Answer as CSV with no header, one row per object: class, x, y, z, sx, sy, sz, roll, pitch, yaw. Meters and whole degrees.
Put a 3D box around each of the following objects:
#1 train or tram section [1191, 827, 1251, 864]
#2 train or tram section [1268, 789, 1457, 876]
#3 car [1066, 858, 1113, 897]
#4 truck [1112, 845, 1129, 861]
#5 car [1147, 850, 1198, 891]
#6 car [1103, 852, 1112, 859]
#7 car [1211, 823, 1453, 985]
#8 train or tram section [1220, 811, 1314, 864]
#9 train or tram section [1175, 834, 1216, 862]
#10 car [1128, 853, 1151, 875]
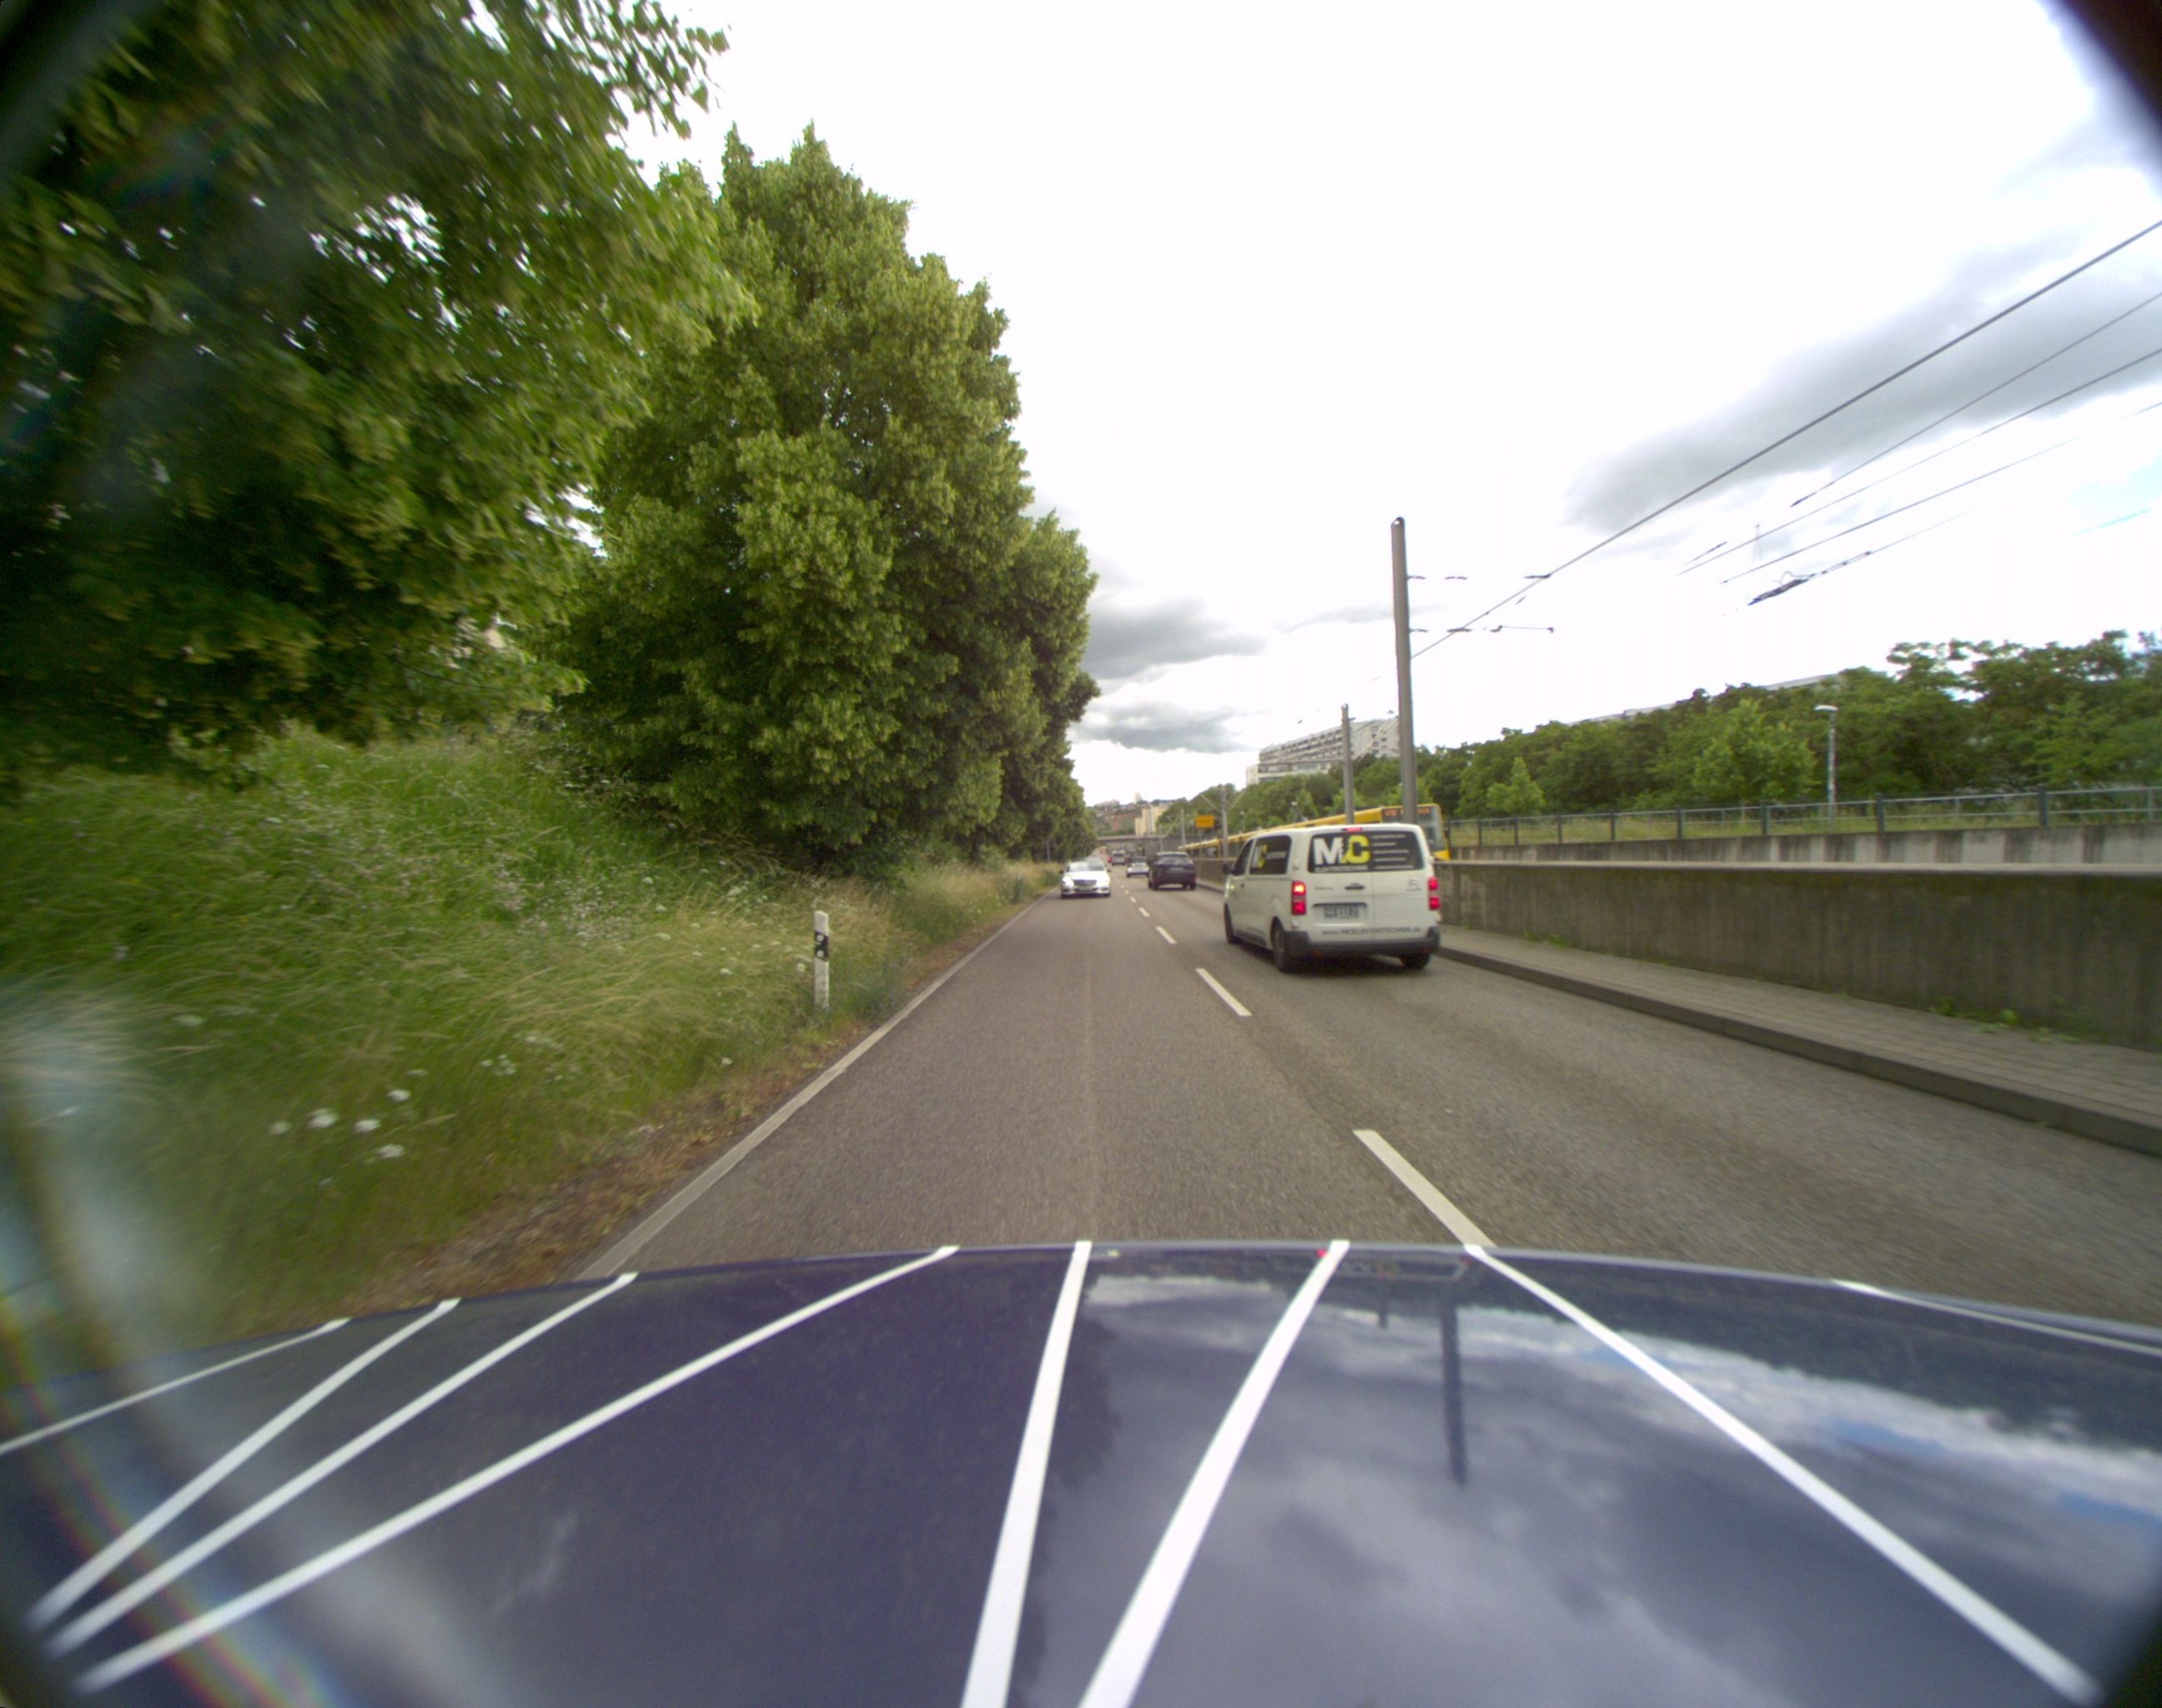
train or tram section,13.941,-0.792,77.889,2.742,3.196,19.916,-3,0,1
train or tram section,13.020,-0.926,38.214,2.788,3.175,18.472,-2,1,1
car,0.350,0.894,31.026,1.739,1.366,3.999,-2,1,1
truck,6.388,-0.263,123.500,2.456,2.412,8.211,-2,1,1
car,4.040,0.692,34.169,1.781,1.677,4.065,-2,0,0
car,5.910,0.313,170.778,1.998,1.630,4.000,-1,0,1
car,3.314,0.551,11.199,1.901,1.823,4.904,-1,1,0
train or tram section,13.315,-1.147,56.703,2.788,3.175,18.473,-2,1,1
train or tram section,14.345,-0.812,96.702,2.718,3.172,17.565,-2,1,1
car,4.299,0.709,56.030,1.598,1.531,2.697,-1,0,2
